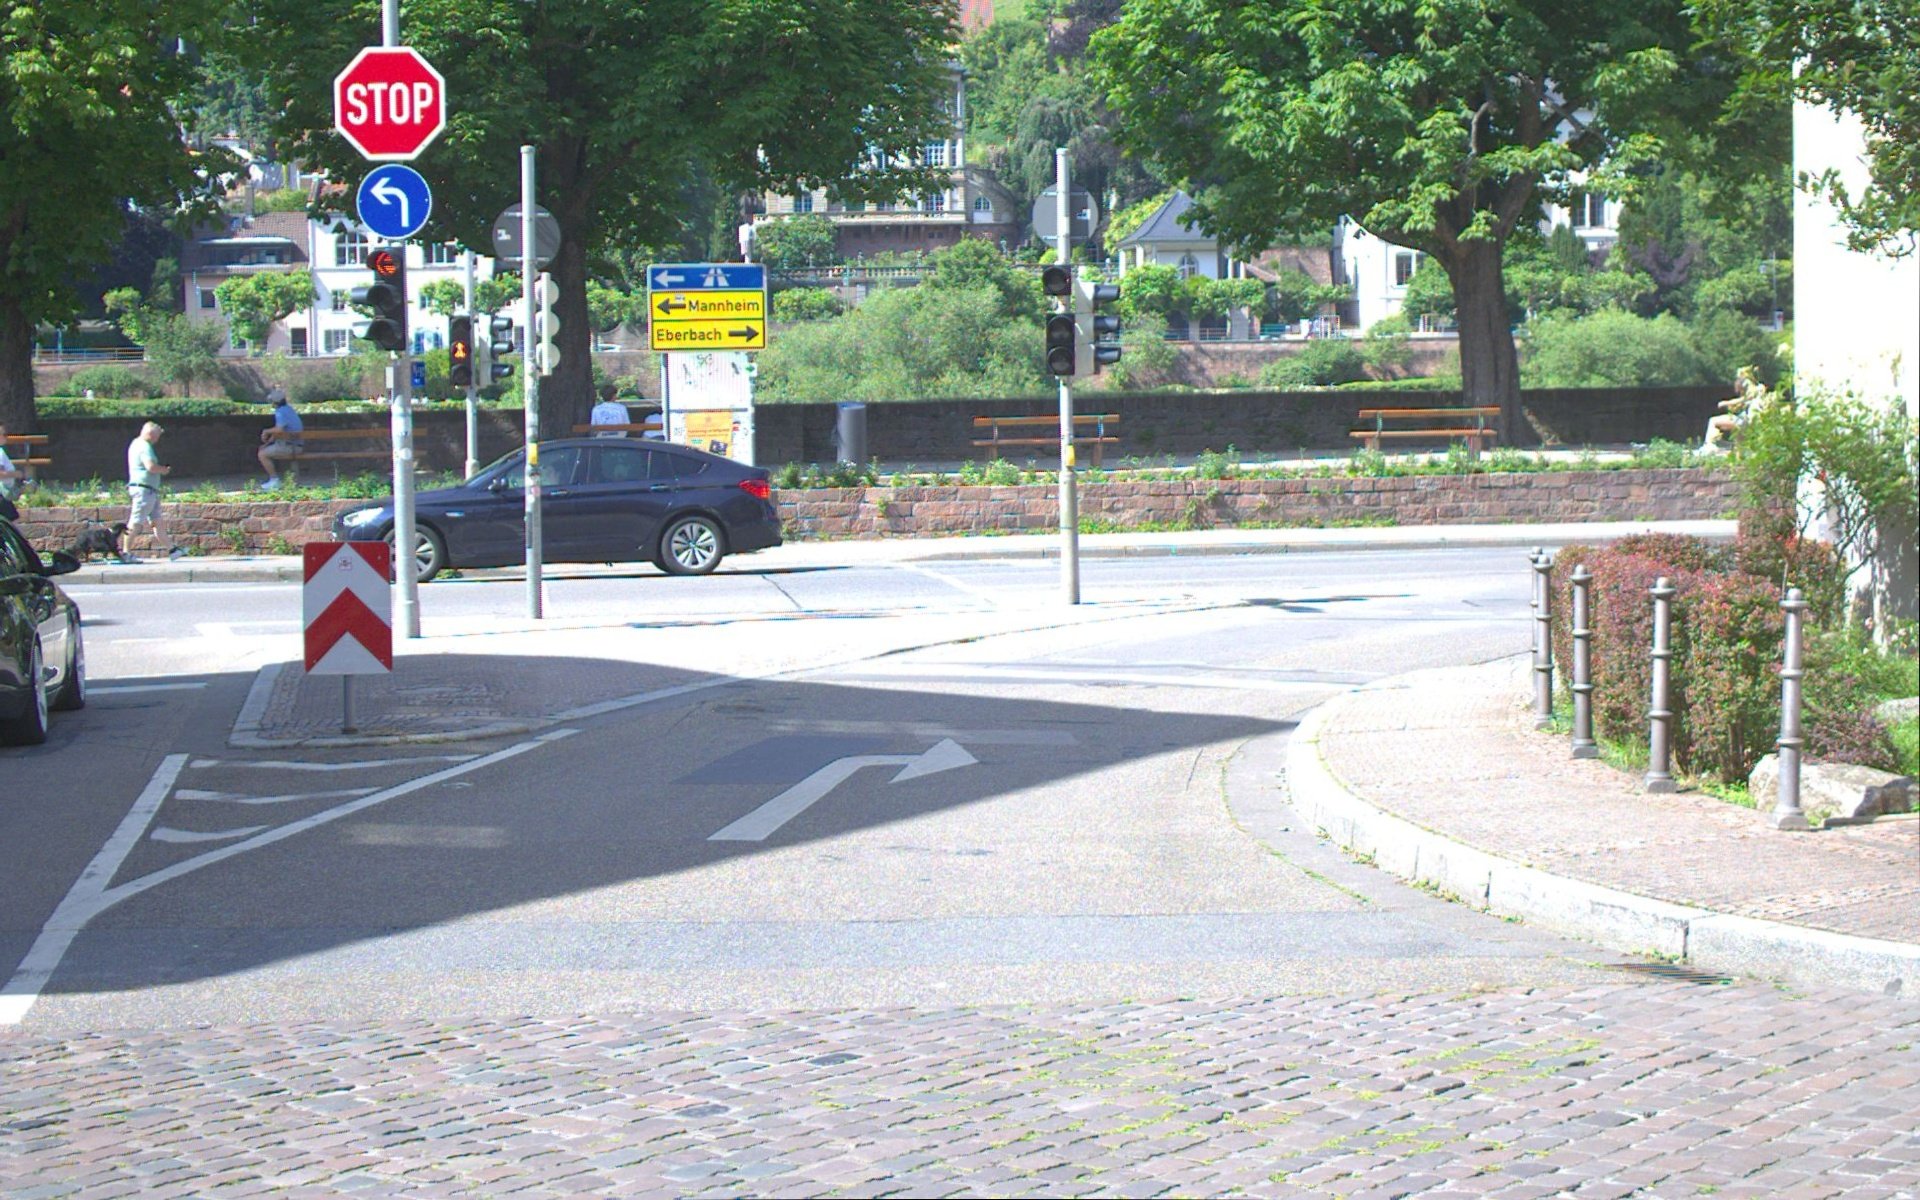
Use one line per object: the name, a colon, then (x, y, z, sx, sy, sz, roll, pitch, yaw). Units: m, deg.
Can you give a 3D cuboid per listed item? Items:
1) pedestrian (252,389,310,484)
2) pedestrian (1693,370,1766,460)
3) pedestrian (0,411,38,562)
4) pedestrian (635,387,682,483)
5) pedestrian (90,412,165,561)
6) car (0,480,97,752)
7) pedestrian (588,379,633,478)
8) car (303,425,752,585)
pedestrian: (-8.909, -2.140, 45.117, 0.641, 1.224, 0.414, -2, 2, -20)
pedestrian: (10.838, -2.600, 48.416, 0.797, 1.207, 0.715, 1, 0, -6)
pedestrian: (-11.608, -1.364, 41.574, 0.721, 1.795, 0.634, -2, 2, -6)
pedestrian: (-4.057, -2.215, 46.289, 0.553, 1.224, 0.986, 1, 0, -8)
pedestrian: (-10.060, -1.368, 41.542, 0.688, 1.763, 0.717, -2, 2, -3)
car: (-6.521, 0.056, 21.489, 1.714, 1.457, 4.726, -3, 3, -9)
pedestrian: (-4.667, -2.284, 45.883, 0.553, 1.275, 0.704, 1, 0, -7)
car: (-4.834, -1.070, 38.210, 4.762, 1.512, 1.907, -3, 2, -11)
